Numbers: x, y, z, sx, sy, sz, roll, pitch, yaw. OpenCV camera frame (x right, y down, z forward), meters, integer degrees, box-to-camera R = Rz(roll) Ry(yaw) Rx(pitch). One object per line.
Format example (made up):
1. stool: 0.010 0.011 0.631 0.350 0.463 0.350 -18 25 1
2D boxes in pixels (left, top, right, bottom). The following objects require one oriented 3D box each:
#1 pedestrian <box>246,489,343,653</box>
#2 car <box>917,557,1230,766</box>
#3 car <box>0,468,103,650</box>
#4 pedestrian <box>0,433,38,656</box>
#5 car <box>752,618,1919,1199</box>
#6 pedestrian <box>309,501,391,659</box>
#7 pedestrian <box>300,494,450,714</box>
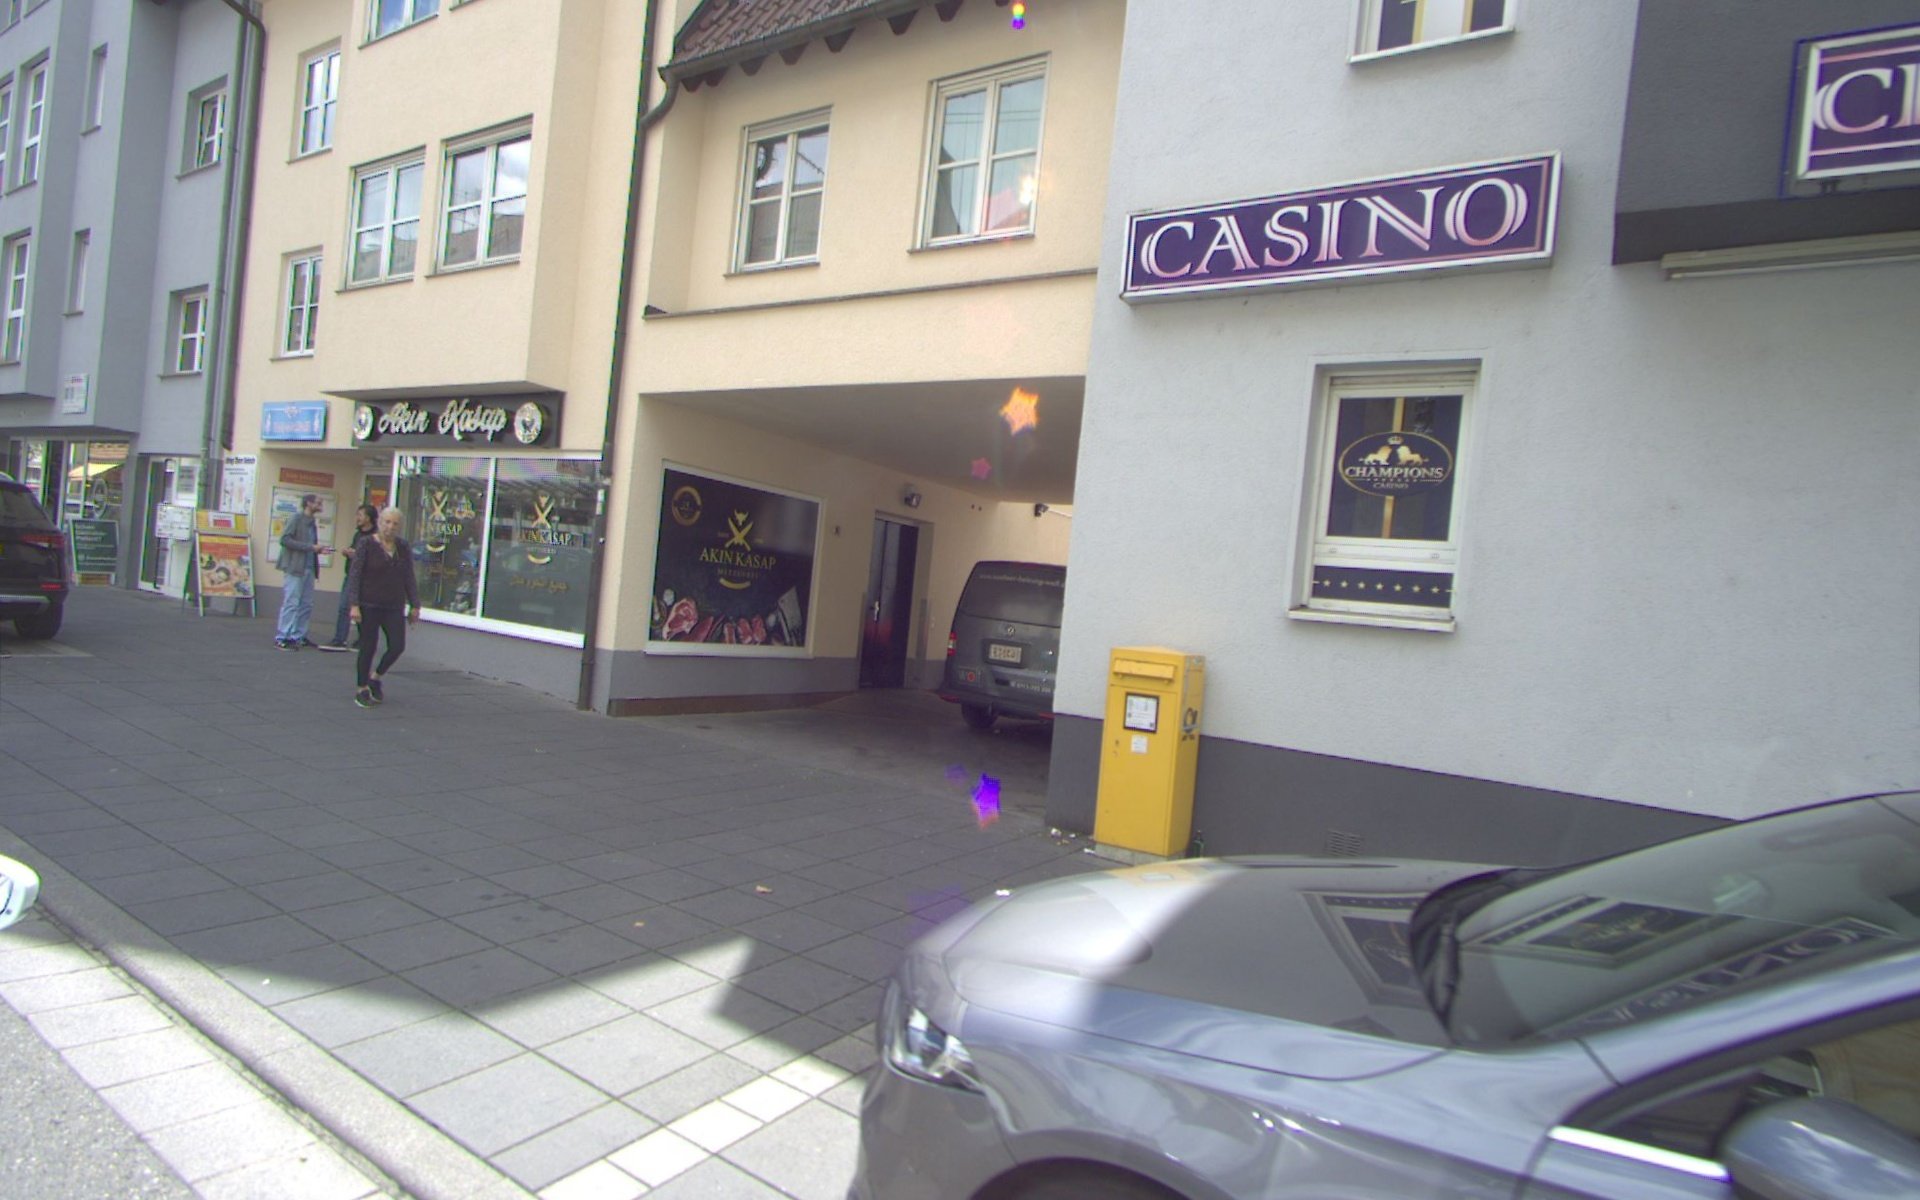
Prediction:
1. pedestrian: -7.433 -0.322 11.241 0.596 1.738 0.536 6 -1 31
2. car: 1.584 0.668 12.359 1.922 1.958 4.347 7 2 33
3. car: -10.430 -0.576 9.912 4.134 1.624 1.800 7 2 32
4. pedestrian: -8.630 -0.507 8.504 0.850 1.888 0.975 6 2 31
5. car: 1.820 1.002 1.585 4.251 1.436 1.708 5 -2 36
6. pedestrian: -7.017 -0.228 11.583 0.528 1.738 0.436 6 -1 30
7. pedestrian: -4.931 0.042 8.497 0.645 1.739 0.744 6 0 31
